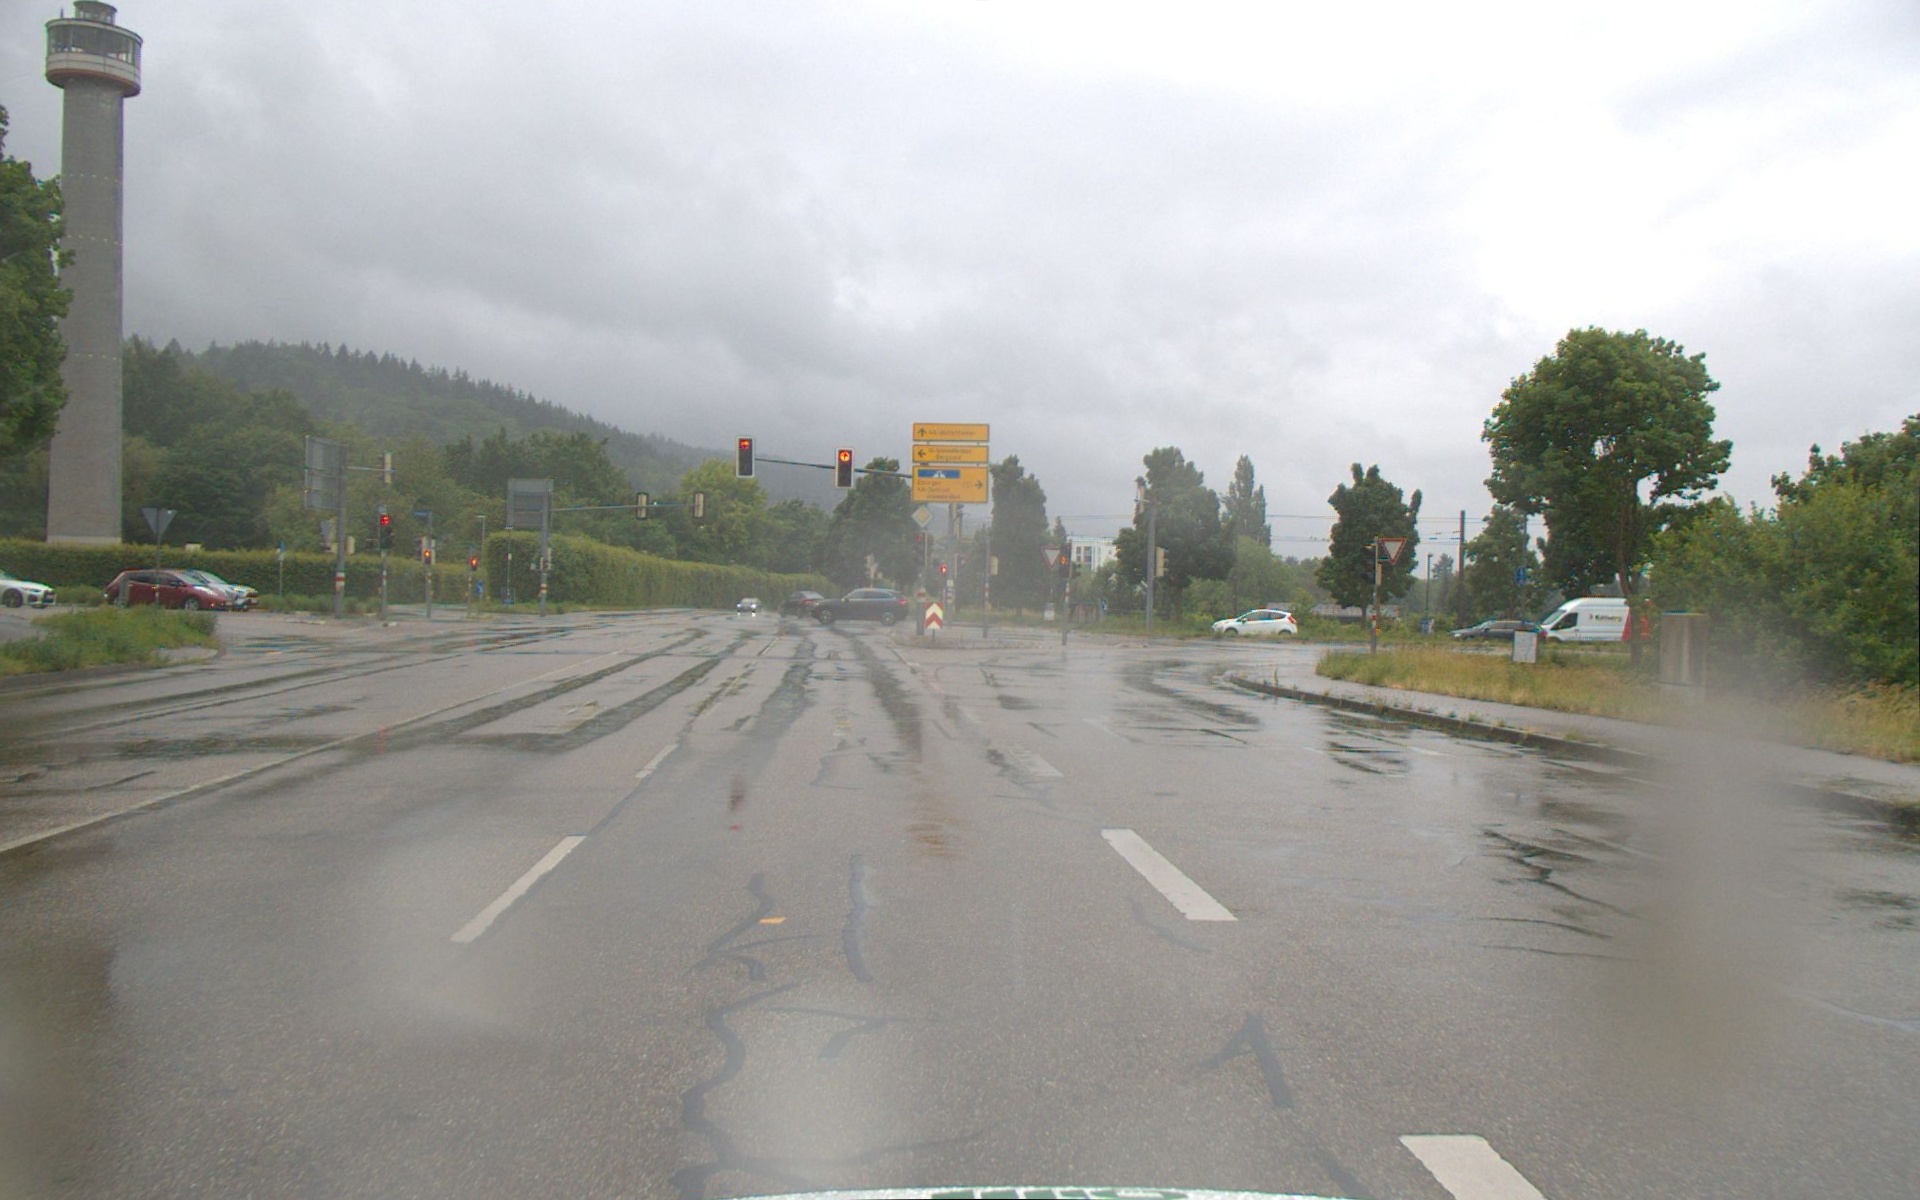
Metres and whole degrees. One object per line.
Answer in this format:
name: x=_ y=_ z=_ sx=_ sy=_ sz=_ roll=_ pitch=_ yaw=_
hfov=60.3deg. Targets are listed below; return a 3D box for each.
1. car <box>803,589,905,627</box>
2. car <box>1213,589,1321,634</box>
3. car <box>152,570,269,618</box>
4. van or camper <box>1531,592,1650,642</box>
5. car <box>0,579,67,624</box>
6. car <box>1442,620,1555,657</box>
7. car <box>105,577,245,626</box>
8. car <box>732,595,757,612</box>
car: x=-4.809 y=0.366 z=75.403 sx=4.575 sy=1.667 sz=1.822 roll=-1 pitch=0 yaw=-2
car: x=13.964 y=0.517 z=75.491 sx=4.573 sy=1.949 sz=1.915 roll=1 pitch=0 yaw=1
car: x=-29.157 y=-0.232 z=64.416 sx=3.722 sy=1.741 sz=1.746 roll=1 pitch=0 yaw=3
van or camper: x=29.720 y=0.793 z=78.033 sx=4.754 sy=2.207 sz=2.158 roll=2 pitch=0 yaw=-5
car: x=-35.621 y=0.030 z=60.653 sx=4.780 sy=1.580 sz=1.800 roll=1 pitch=0 yaw=2
car: x=24.578 y=1.747 z=75.596 sx=4.573 sy=1.580 sz=1.823 roll=1 pitch=0 yaw=1
car: x=-28.783 y=0.049 z=60.715 sx=4.284 sy=1.607 sz=1.733 roll=2 pitch=0 yaw=2
car: x=-20.947 y=0.354 z=160.896 sx=1.841 sy=1.601 sz=4.644 roll=0 pitch=0 yaw=-1
